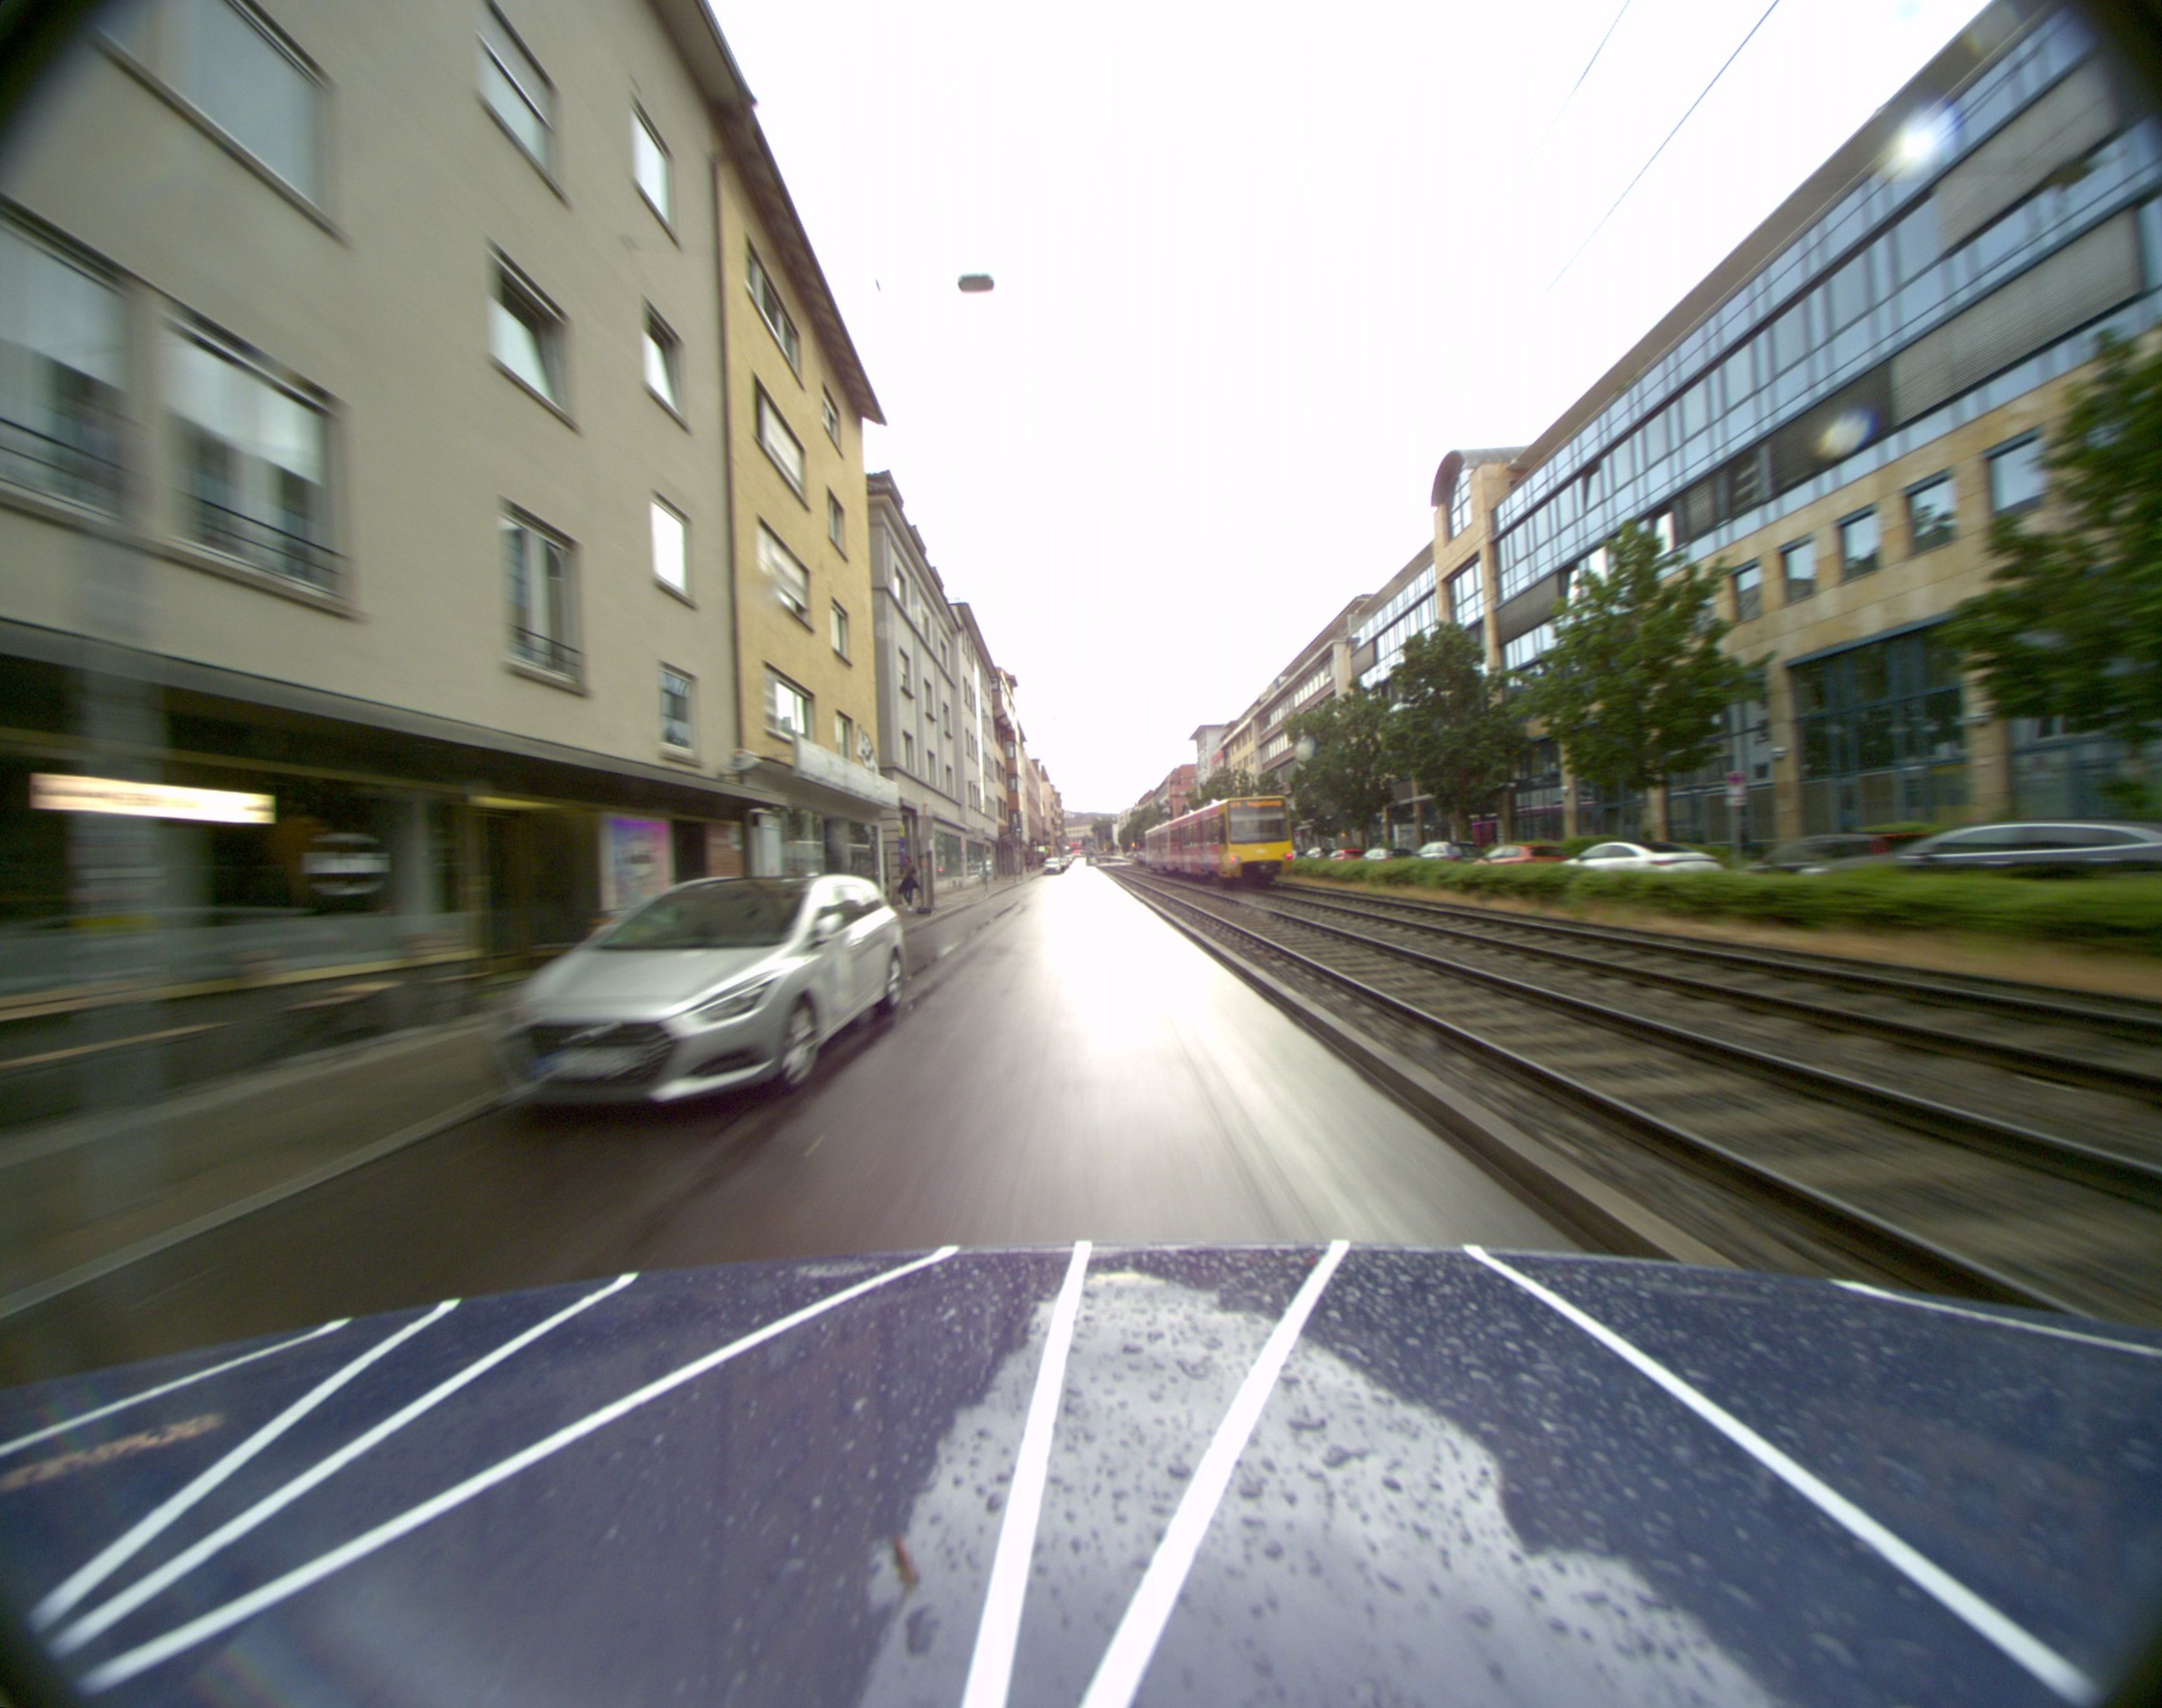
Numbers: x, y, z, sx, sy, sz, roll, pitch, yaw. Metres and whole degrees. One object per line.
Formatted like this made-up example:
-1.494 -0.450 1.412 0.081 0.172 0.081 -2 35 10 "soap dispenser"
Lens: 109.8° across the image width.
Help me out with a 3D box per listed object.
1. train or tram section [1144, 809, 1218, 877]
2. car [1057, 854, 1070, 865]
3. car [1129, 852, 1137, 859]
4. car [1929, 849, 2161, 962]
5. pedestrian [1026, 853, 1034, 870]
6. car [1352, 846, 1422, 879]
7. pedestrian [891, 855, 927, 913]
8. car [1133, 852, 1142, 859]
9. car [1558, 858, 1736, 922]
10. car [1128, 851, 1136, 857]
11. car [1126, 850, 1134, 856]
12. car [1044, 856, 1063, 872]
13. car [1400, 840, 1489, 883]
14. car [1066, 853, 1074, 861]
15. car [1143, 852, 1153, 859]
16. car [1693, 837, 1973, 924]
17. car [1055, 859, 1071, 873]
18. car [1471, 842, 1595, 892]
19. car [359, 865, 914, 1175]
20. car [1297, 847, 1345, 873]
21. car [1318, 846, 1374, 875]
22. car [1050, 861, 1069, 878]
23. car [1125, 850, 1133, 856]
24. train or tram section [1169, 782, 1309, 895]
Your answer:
6.909 -0.700 55.745 2.909 4.026 18.410 -2 0 0 "train or tram section"
-2.486 0.789 107.950 1.653 1.583 4.067 -2 0 1 "car"
14.410 0.370 211.427 1.999 1.778 4.163 -2 0 -1 "car"
15.322 0.686 10.757 1.693 1.477 4.296 -3 -1 -2 "car"
-5.017 0.738 75.071 0.640 1.690 0.883 -2 0 1 "pedestrian"
15.131 0.409 37.857 1.653 1.531 4.622 -2 0 1 "car"
-5.087 0.876 22.450 0.793 1.649 0.721 -4 0 0 "pedestrian"
14.618 0.340 197.351 1.999 1.652 4.000 -2 0 -1 "car"
14.921 0.879 20.364 1.653 1.489 4.193 -2 0 1 "car"
14.604 -0.020 216.718 1.999 1.778 4.000 -2 0 -1 "car"
14.347 -0.275 222.663 1.999 1.778 4.000 -2 0 -1 "car"
-2.632 0.957 73.644 1.653 1.489 4.067 -2 0 1 "car"
15.014 0.304 31.619 1.653 1.592 4.293 -2 0 1 "car"
-2.385 0.709 162.548 1.653 1.583 4.067 -2 0 1 "car"
15.484 0.321 176.168 1.999 1.652 4.000 -2 0 -1 "car"
15.099 0.515 15.620 1.693 1.477 4.000 -3 -1 -1 "car"
-2.165 1.457 92.581 1.653 1.583 4.067 -2 0 1 "car"
15.103 0.405 25.697 1.653 1.489 4.293 -2 0 1 "car"
-2.958 0.952 6.512 2.029 1.584 4.620 -2 0 -1 "car"
15.232 0.353 48.447 1.653 1.531 4.622 -2 0 1 "car"
15.154 0.344 43.688 1.653 1.531 4.622 -2 0 1 "car"
-2.195 1.564 78.319 1.653 1.583 4.067 -2 0 1 "car"
14.454 -0.333 228.432 1.999 1.778 4.000 -2 0 -1 "car"
6.848 -0.606 37.128 2.909 4.026 18.766 -2 0 0 "train or tram section"
